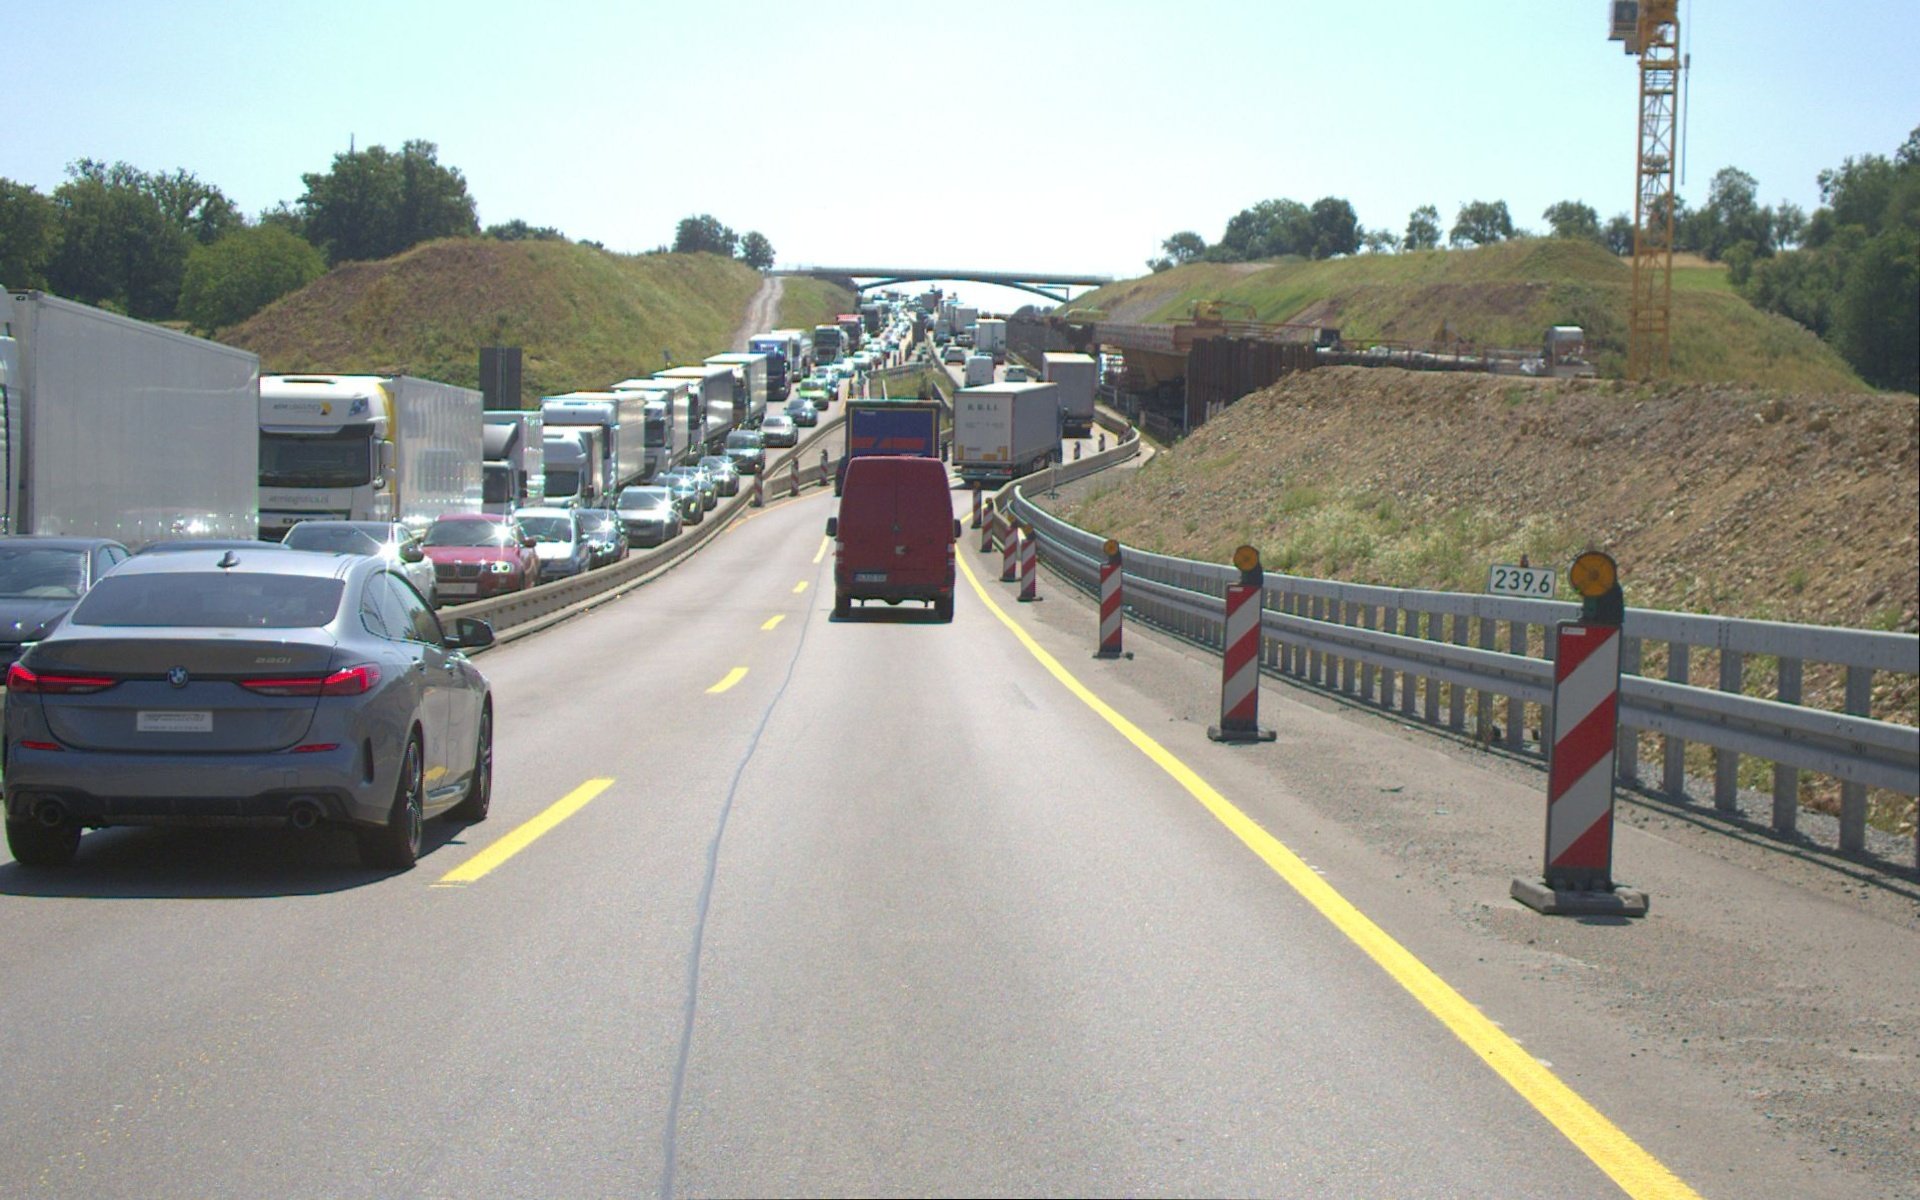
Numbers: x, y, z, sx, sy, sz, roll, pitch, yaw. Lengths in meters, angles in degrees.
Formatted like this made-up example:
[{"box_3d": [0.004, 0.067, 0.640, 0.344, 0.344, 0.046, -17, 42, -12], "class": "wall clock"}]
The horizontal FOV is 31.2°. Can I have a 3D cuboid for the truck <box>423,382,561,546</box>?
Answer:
[{"box_3d": [-11.613, -3.414, 85.956, 2.524, 3.842, 8.673, 1, 2, -2], "class": "truck"}]

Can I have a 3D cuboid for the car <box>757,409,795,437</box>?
[{"box_3d": [-9.312, -8.965, 174.162, 1.747, 1.404, 4.001, 0, 3, -1], "class": "car"}]

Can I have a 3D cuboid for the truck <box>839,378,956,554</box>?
[{"box_3d": [-1.803, -3.791, 96.198, 3.020, 4.676, 6.934, -1, 3, -2], "class": "truck"}]

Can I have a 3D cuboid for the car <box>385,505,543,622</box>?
[{"box_3d": [-7.913, -0.629, 55.223, 1.993, 1.625, 4.759, 2, 3, -2], "class": "car"}]

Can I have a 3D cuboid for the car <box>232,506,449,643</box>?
[{"box_3d": [-7.691, -0.353, 43.120, 1.993, 1.615, 4.883, 0, 1, -2], "class": "car"}]

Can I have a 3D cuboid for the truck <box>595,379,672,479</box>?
[{"box_3d": [-13.042, -6.800, 137.802, 2.782, 3.856, 5.462, 0, 1, -2], "class": "truck"}]

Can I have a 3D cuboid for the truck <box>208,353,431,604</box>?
[{"box_3d": [-11.164, -2.131, 60.439, 2.977, 4.170, 5.875, 1, 2, -2], "class": "truck"}]

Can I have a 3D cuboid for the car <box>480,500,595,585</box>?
[{"box_3d": [-8.149, -1.128, 66.620, 1.827, 1.568, 4.001, 0, 1, -2], "class": "car"}]

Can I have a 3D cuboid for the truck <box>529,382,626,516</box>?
[{"box_3d": [-12.422, -4.966, 112.032, 2.550, 4.216, 6.531, 0, 3, -1], "class": "truck"}]

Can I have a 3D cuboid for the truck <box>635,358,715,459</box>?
[{"box_3d": [-12.908, -8.694, 156.345, 3.052, 4.465, 5.981, 0, 3, 1], "class": "truck"}]

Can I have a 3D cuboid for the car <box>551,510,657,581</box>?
[{"box_3d": [-8.036, -1.251, 77.970, 1.993, 1.551, 4.339, 1, 1, -1], "class": "car"}]

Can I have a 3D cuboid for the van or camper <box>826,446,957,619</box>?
[{"box_3d": [-1.184, -1.182, 57.343, 2.029, 2.734, 4.516, 1, 3, -3], "class": "van or camper"}]

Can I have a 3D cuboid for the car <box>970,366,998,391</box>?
[{"box_3d": [1.751, -16.355, 254.045, 1.952, 1.635, 4.268, 1, 1, -1], "class": "car"}]

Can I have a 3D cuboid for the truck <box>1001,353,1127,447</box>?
[{"box_3d": [5.983, -11.213, 193.756, 5.162, 4.979, 13.872, -1, 3, 10], "class": "truck"}]

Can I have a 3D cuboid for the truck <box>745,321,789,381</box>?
[{"box_3d": [-13.090, -16.824, 233.140, 2.887, 3.825, 8.004, 0, 3, -3], "class": "truck"}]

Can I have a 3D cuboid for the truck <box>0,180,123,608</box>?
[{"box_3d": [-11.021, -2.126, 35.902, 3.097, 4.183, 6.703, 1, 2, -2], "class": "truck"}]

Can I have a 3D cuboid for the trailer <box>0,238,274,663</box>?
[{"box_3d": [-11.236, -1.802, 42.379, 3.140, 4.368, 14.080, 0, 2, -2], "class": "trailer"}]

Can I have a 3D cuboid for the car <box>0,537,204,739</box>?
[{"box_3d": [-7.350, 0.235, 27.277, 1.832, 1.418, 4.684, 0, 1, -2], "class": "car"}]

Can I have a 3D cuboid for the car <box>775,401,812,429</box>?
[{"box_3d": [-9.516, -10.564, 196.607, 1.952, 1.524, 4.268, 0, 3, -1], "class": "car"}]

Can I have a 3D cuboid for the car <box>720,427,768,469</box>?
[{"box_3d": [-9.498, -6.696, 151.297, 1.993, 1.776, 4.001, 0, 3, -2], "class": "car"}]

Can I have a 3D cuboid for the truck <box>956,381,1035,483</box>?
[{"box_3d": [1.444, -6.974, 143.855, 3.038, 4.086, 7.086, 0, 1, -2], "class": "truck"}]

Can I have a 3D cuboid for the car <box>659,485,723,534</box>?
[{"box_3d": [-8.716, -2.942, 111.667, 1.827, 1.530, 4.547, -1, 1, -1], "class": "car"}]

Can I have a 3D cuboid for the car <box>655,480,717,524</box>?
[{"box_3d": [-9.693, -3.491, 122.022, 1.902, 1.371, 4.547, -2, 3, -1], "class": "car"}]

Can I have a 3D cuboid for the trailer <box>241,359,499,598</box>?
[{"box_3d": [-11.364, -2.390, 67.740, 2.986, 4.194, 13.948, 1, 2, -1], "class": "trailer"}]

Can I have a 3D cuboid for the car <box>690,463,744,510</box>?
[{"box_3d": [-9.400, -4.388, 133.194, 1.993, 1.777, 4.001, 0, 1, -2], "class": "car"}]

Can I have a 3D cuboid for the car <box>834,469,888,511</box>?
[{"box_3d": [-3.888, -4.316, 134.426, 2.012, 1.539, 4.133, 1, 3, -2], "class": "car"}]

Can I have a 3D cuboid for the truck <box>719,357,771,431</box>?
[{"box_3d": [-11.365, -10.865, 182.186, 2.683, 3.825, 7.388, 0, 3, -3], "class": "truck"}]

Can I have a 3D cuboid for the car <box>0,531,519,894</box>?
[{"box_3d": [-3.328, 0.419, 16.640, 1.851, 1.447, 4.743, 0, 2, -1], "class": "car"}]

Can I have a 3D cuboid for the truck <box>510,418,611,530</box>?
[{"box_3d": [-11.725, -3.759, 101.257, 2.433, 3.137, 7.025, 0, 3, -2], "class": "truck"}]

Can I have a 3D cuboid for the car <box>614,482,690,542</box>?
[{"box_3d": [-8.578, -2.459, 95.953, 1.827, 1.645, 4.547, 0, 1, -2], "class": "car"}]
